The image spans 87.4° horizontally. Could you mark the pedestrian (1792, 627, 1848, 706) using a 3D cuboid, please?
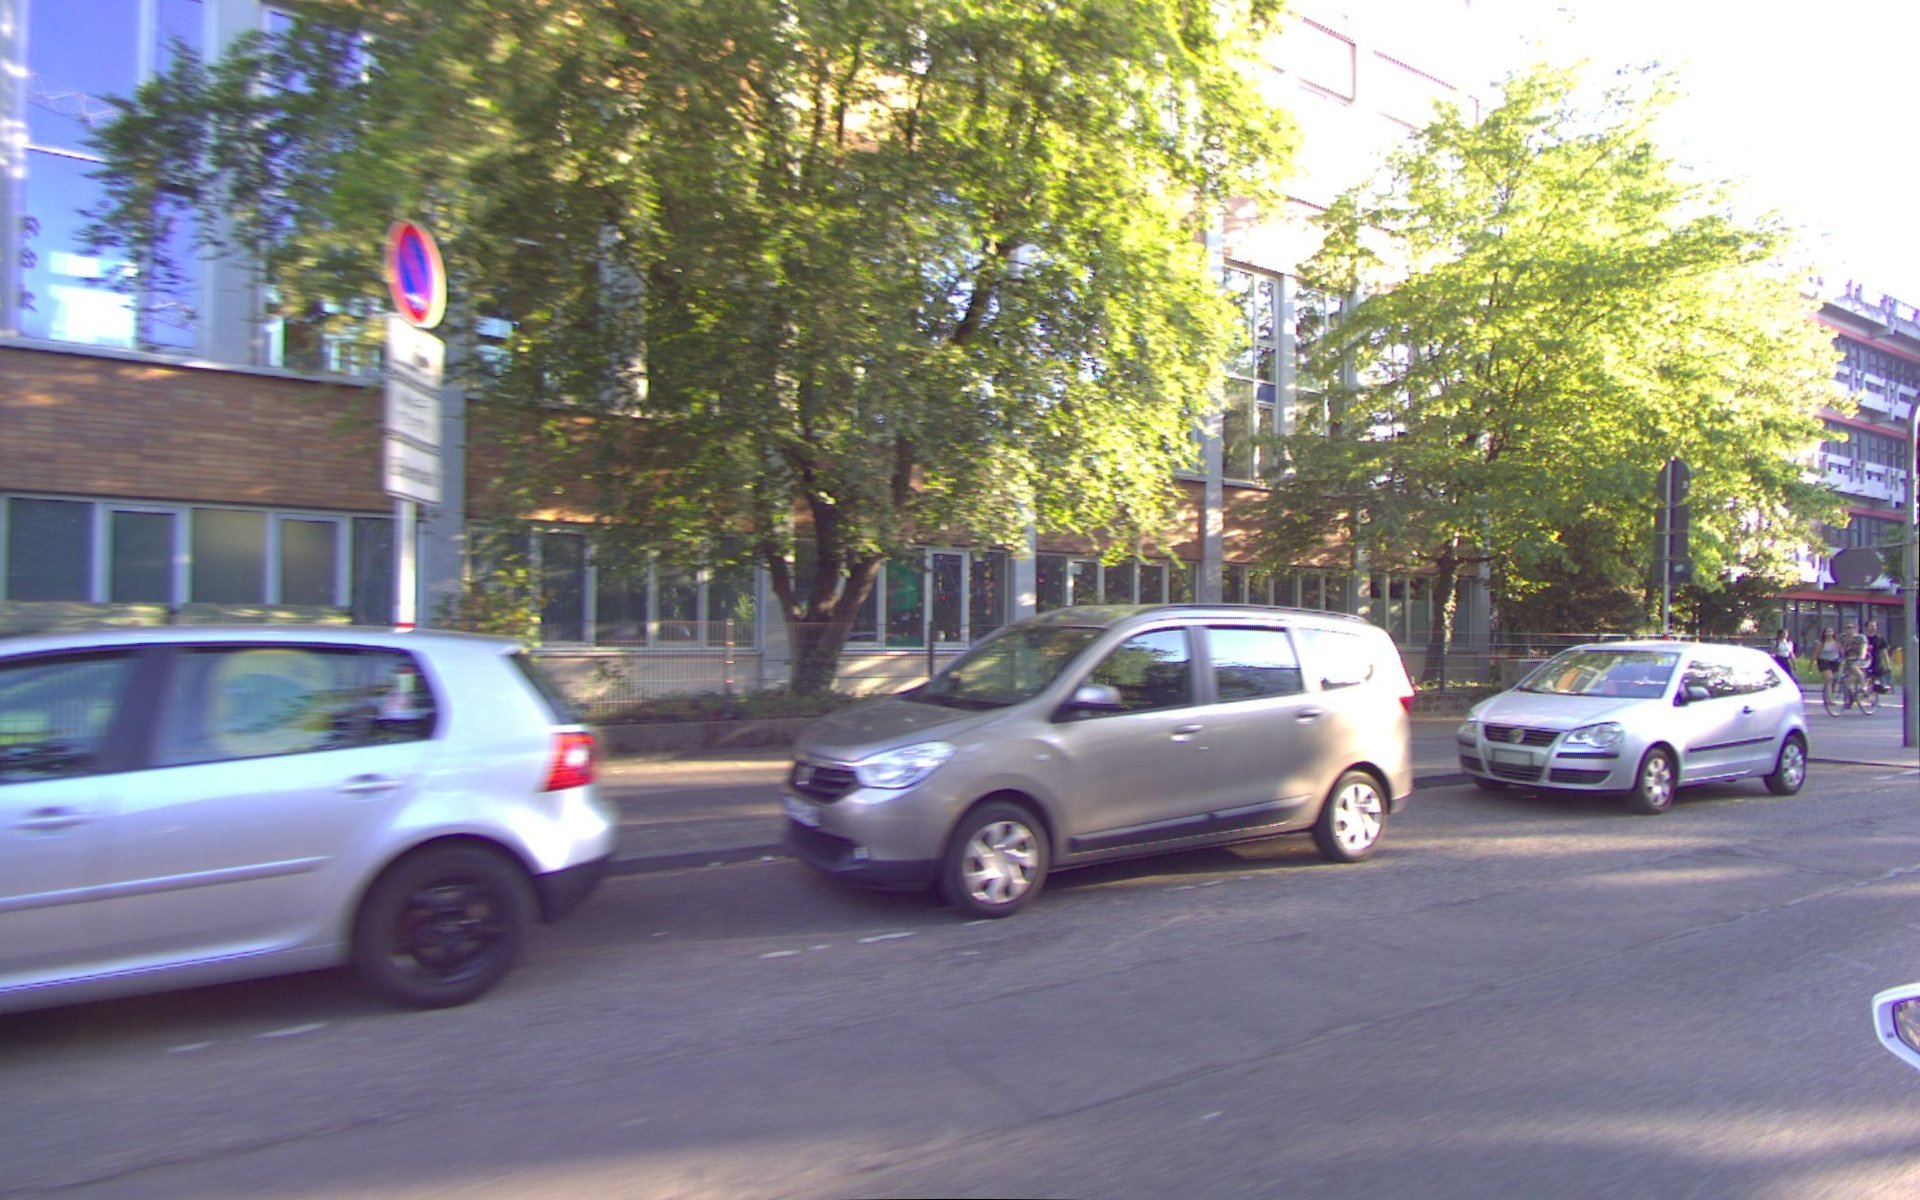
[{"bbox_3d":[18.821,1.442,21.989,0.702,1.684,0.707,-1,-2,20],"label":"pedestrian"}]

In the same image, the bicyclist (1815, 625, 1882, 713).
[{"bbox_3d":[16.747,1.289,18.934,0.694,1.624,0.676,1,-1,-13],"label":"bicyclist"}]

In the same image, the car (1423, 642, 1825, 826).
[{"bbox_3d":[6.527,1.162,9.825,3.834,1.476,1.673,1,-3,-29],"label":"car"}]

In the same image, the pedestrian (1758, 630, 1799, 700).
[{"bbox_3d":[20.107,1.574,24.689,0.704,1.684,0.764,-1,-2,37],"label":"pedestrian"}]

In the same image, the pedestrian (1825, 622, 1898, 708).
[{"bbox_3d":[19.773,1.404,22.050,0.806,1.848,0.958,0,-2,15],"label":"pedestrian"}]

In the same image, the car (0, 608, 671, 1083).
[{"bbox_3d":[-3.374,0.821,4.005,4.012,1.513,1.663,1,-3,-30],"label":"car"}]

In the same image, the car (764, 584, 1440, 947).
[{"bbox_3d":[1.038,0.858,6.614,4.288,1.731,1.672,1,-3,-30],"label":"car"}]

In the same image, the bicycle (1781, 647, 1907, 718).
[{"bbox_3d":[16.633,1.541,18.904,2.155,1.265,0.687,1,-1,-14],"label":"bicycle"}]
